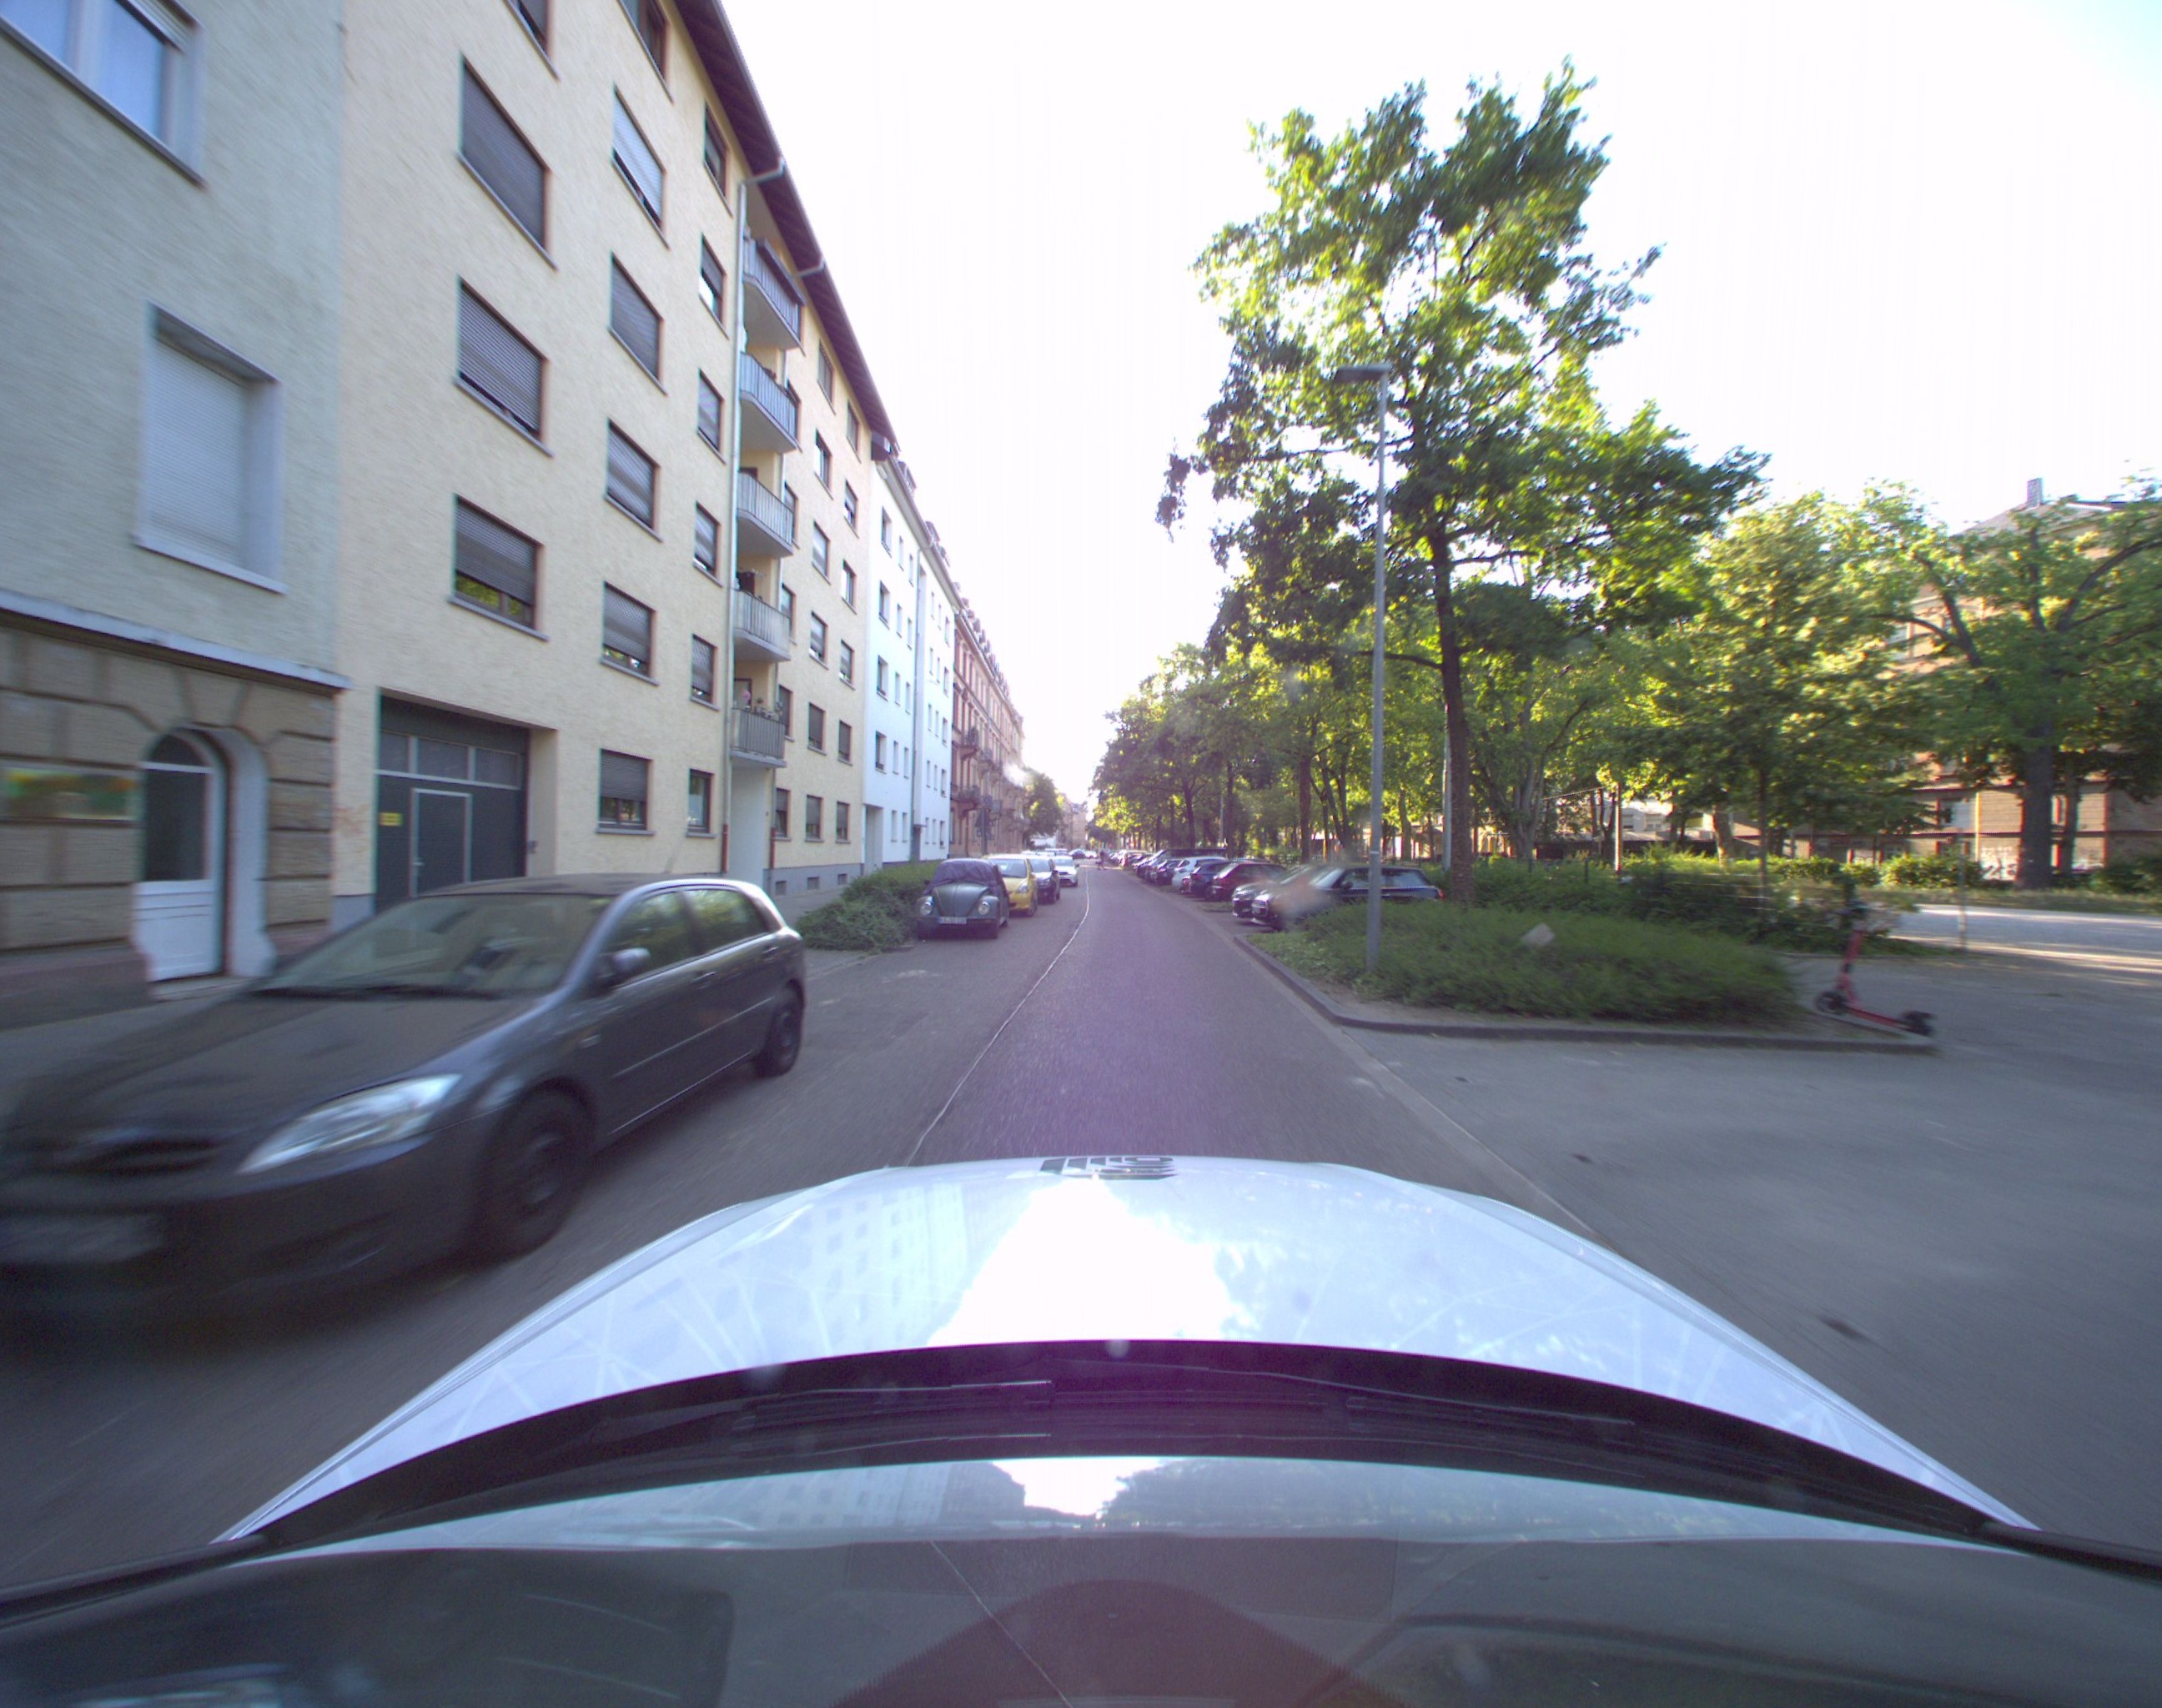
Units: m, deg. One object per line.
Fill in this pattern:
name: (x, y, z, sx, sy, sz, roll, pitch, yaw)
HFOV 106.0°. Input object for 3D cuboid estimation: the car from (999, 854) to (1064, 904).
car: (-1.515, 0.759, 26.387, 1.733, 1.479, 4.002, 0, 0, 2)

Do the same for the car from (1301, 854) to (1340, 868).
car: (31.500, 0.950, 107.008, 4.658, 1.684, 2.011, 2, -2, 23)

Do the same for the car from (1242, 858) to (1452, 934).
car: (5.345, 0.836, 16.632, 3.774, 1.472, 1.633, 0, -2, -4)

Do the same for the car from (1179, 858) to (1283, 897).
car: (5.753, 0.900, 31.510, 3.767, 1.474, 1.665, 0, -2, 2)

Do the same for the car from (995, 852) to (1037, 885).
car: (-3.334, 0.720, 42.276, 1.662, 1.471, 4.285, 4, 0, 1)

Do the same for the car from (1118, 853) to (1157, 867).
car: (6.139, 0.694, 88.803, 4.201, 1.453, 1.651, -1, 0, 4)

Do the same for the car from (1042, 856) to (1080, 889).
car: (-0.955, 0.878, 40.333, 1.662, 1.430, 4.001, -1, 1, 1)

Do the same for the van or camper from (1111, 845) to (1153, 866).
van or camper: (6.317, 0.254, 101.338, 4.968, 2.377, 2.183, 2, -2, -2)

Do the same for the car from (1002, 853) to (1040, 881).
car: (-3.424, 0.716, 46.837, 1.609, 1.451, 4.003, 3, 0, 3)

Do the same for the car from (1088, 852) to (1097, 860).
car: (2.114, 0.435, 154.118, 1.663, 1.464, 3.999, 0, 0, -1)

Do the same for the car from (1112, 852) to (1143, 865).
car: (6.314, 0.662, 111.329, 3.977, 1.548, 1.857, 2, -2, -3)

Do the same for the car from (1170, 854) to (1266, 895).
car: (5.692, 0.848, 34.131, 3.769, 1.646, 1.664, 0, -2, 0)

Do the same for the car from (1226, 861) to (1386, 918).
car: (5.818, 0.914, 21.371, 3.770, 1.401, 1.664, 0, -2, -1)

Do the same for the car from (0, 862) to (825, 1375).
car: (-2.903, 0.818, 4.437, 1.631, 1.466, 4.001, -2, 0, 1)

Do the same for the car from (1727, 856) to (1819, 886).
car: (49.972, 1.246, 58.926, 2.000, 2.014, 4.707, 3, -2, -20)

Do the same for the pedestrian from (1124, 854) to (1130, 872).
pedestrian: (4.044, 0.763, 70.950, 0.377, 1.516, 0.521, 1, 2, 19)

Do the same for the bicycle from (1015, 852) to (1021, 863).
bicycle: (-7.446, 0.433, 96.247, 0.703, 1.147, 1.887, 2, -2, -3)

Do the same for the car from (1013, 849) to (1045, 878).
car: (-3.275, 0.584, 52.124, 1.746, 1.706, 4.200, 2, 0, 0)

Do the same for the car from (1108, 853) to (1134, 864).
car: (6.321, 0.667, 128.943, 3.977, 1.563, 1.857, 2, -2, -3)

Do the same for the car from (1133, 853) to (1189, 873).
car: (6.514, 0.701, 66.566, 4.391, 1.591, 1.835, 0, -1, -5)

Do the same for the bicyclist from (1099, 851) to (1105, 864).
bicyclist: (2.695, 0.458, 105.360, 0.626, 1.573, 0.802, 2, -2, -1)

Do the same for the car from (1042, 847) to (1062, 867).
car: (-3.044, 0.313, 86.691, 1.988, 1.921, 5.037, 2, -2, -1)

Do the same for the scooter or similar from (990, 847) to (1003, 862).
scooter or similar: (-7.582, 0.064, 73.180, 0.781, 1.222, 2.703, 2, -2, 0)

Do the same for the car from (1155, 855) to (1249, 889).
car: (5.726, 0.865, 38.871, 4.378, 1.577, 1.666, 0, -2, 5)

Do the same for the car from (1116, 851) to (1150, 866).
car: (6.140, 0.556, 97.190, 3.972, 1.691, 1.859, -1, 0, 1)

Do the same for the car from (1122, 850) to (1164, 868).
car: (6.414, 0.506, 84.355, 4.205, 1.864, 1.762, -1, 0, 1)

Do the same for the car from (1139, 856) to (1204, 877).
car: (6.257, 0.847, 56.431, 4.382, 1.440, 1.839, 0, -1, 2)

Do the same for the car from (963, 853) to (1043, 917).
car: (-1.964, 0.758, 21.466, 1.697, 1.525, 3.773, 1, 0, 0)

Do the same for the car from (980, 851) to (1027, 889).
car: (-3.484, 0.688, 37.173, 1.663, 1.508, 4.000, 4, 0, 0)

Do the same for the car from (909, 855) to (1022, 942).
car: (-2.187, 0.796, 16.297, 1.560, 1.517, 3.784, 1, 0, 2)

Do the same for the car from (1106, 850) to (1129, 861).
car: (7.095, 0.248, 157.580, 3.961, 2.014, 2.006, 2, -2, 11)

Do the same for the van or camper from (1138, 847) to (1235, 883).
van or camper: (5.969, 0.601, 46.724, 5.392, 2.027, 2.031, 0, 0, 2)

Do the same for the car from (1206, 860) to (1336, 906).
car: (6.065, 0.936, 26.299, 3.774, 1.401, 1.764, 0, -2, -4)

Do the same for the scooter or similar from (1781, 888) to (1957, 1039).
scooter or similar: (7.558, 0.996, 7.882, 0.475, 1.298, 1.326, 2, -2, 3)

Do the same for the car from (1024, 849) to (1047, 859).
car: (-8.331, 0.039, 148.015, 3.972, 1.706, 2.000, 2, -2, 1)

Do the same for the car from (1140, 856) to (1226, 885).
car: (5.515, 0.892, 44.340, 4.389, 1.501, 1.836, 0, -2, -3)

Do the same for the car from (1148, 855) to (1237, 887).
car: (5.677, 0.873, 41.752, 4.382, 1.577, 1.665, 0, -2, 2)

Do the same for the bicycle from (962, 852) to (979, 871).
bicycle: (-7.453, 0.478, 55.146, 0.734, 1.206, 2.515, 2, 1, 1)

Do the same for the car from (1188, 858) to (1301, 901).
car: (5.695, 0.897, 28.756, 3.763, 1.447, 1.667, 0, -2, 5)

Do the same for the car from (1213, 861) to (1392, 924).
car: (5.140, 0.891, 19.273, 3.768, 1.401, 1.827, 0, -2, 1)

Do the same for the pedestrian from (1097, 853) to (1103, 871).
pedestrian: (1.753, 0.741, 75.251, 0.377, 1.584, 0.521, 1, 2, 19)

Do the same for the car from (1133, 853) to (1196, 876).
car: (6.016, 0.745, 59.188, 4.386, 1.591, 1.837, 0, -1, -1)

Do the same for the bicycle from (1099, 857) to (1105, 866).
bicycle: (2.672, 0.954, 105.384, 0.639, 1.100, 1.943, 2, -2, -1)
